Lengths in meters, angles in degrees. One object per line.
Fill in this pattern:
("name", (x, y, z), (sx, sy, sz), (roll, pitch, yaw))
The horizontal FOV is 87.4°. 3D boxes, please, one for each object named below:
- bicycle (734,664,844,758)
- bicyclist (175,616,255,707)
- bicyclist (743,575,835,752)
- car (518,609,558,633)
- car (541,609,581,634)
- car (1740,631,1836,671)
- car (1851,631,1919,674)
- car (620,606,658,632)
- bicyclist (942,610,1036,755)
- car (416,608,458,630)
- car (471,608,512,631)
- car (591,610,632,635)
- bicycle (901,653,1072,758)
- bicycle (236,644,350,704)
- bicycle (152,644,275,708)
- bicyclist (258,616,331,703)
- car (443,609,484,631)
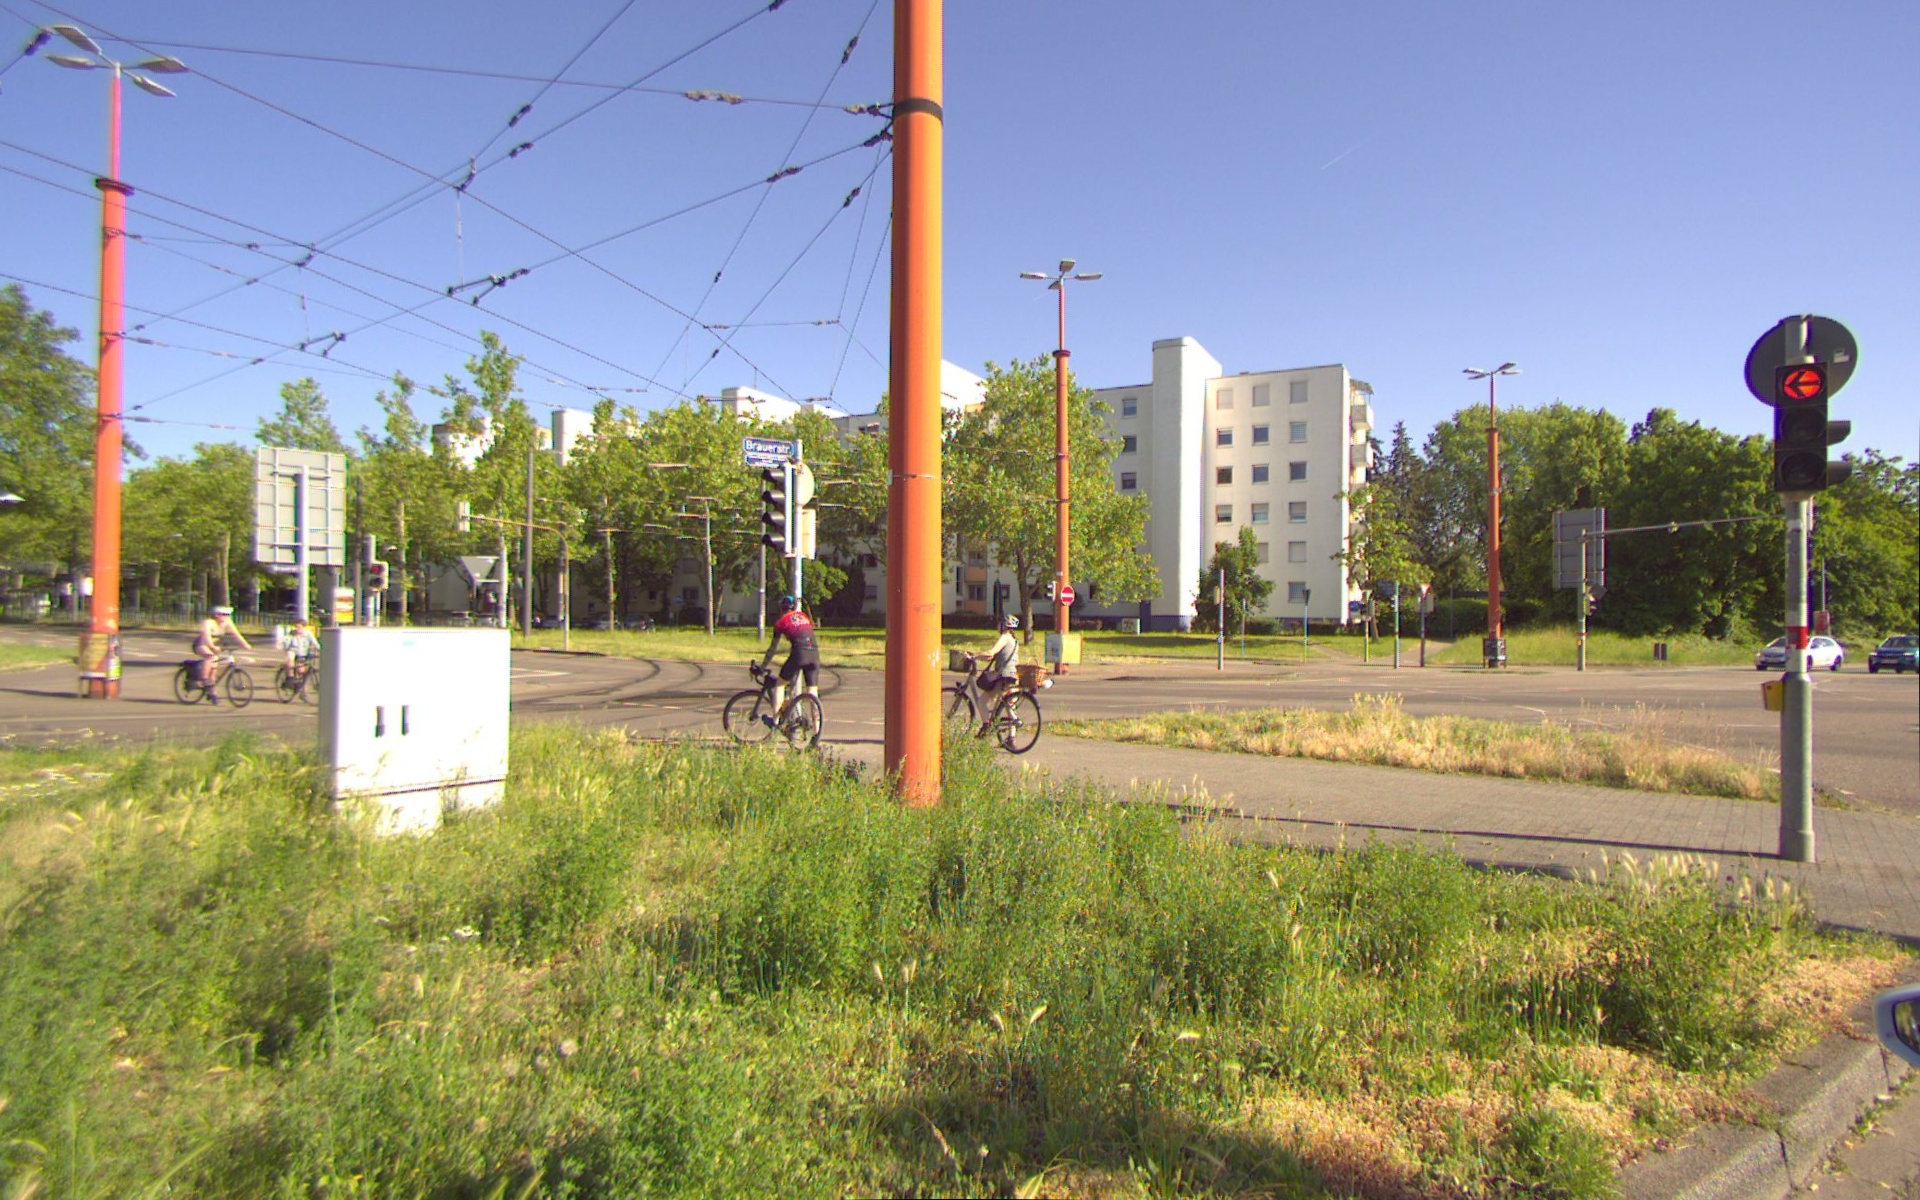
("bicycle", (-2.118, 1.308, 12.237), (0.915, 0.976, 1.747), (1, -1, -24))
("bicyclist", (-14.005, 1.134, 18.898), (0.726, 1.659, 0.934), (0, -1, 18))
("bicyclist", (-2.069, 0.749, 12.140), (0.921, 2.040, 0.736), (1, -1, -25))
("car", (-33.811, 1.670, 80.529), (1.963, 1.840, 3.995), (1, -1, -8))
("car", (-31.196, 1.675, 78.679), (1.963, 1.840, 3.995), (1, -1, -8))
("car", (35.141, 2.151, 42.607), (4.075, 1.594, 1.983), (1, -1, -32))
("car", (37.265, 2.039, 39.866), (4.079, 1.594, 1.981), (2, -1, -35))
("car", (-23.406, 1.398, 73.418), (1.963, 1.840, 3.995), (1, -1, -8))
("bicyclist", (0.356, 0.957, 12.098), (0.728, 1.659, 0.931), (0, -1, 35))
("car", (-46.026, 1.674, 88.477), (1.963, 1.840, 3.995), (1, -1, -8))
("car", (-39.287, 1.640, 84.327), (1.963, 1.840, 3.995), (1, -1, -8))
("car", (-26.112, 1.686, 75.330), (1.962, 1.840, 3.997), (1, -1, -5))
("bicycle", (0.312, 1.227, 12.122), (1.855, 1.102, 0.925), (0, -1, 34))
("bicycle", (-13.254, 1.443, 19.981), (1.849, 1.102, 0.928), (0, -1, 18))
("bicycle", (-14.032, 1.412, 18.897), (1.849, 1.102, 0.928), (0, -1, 18))
("bicyclist", (-13.215, 1.162, 19.969), (0.726, 1.659, 0.934), (0, -1, 18))
("car", (-42.676, 1.698, 86.449), (1.963, 1.840, 3.995), (1, -1, -8))
